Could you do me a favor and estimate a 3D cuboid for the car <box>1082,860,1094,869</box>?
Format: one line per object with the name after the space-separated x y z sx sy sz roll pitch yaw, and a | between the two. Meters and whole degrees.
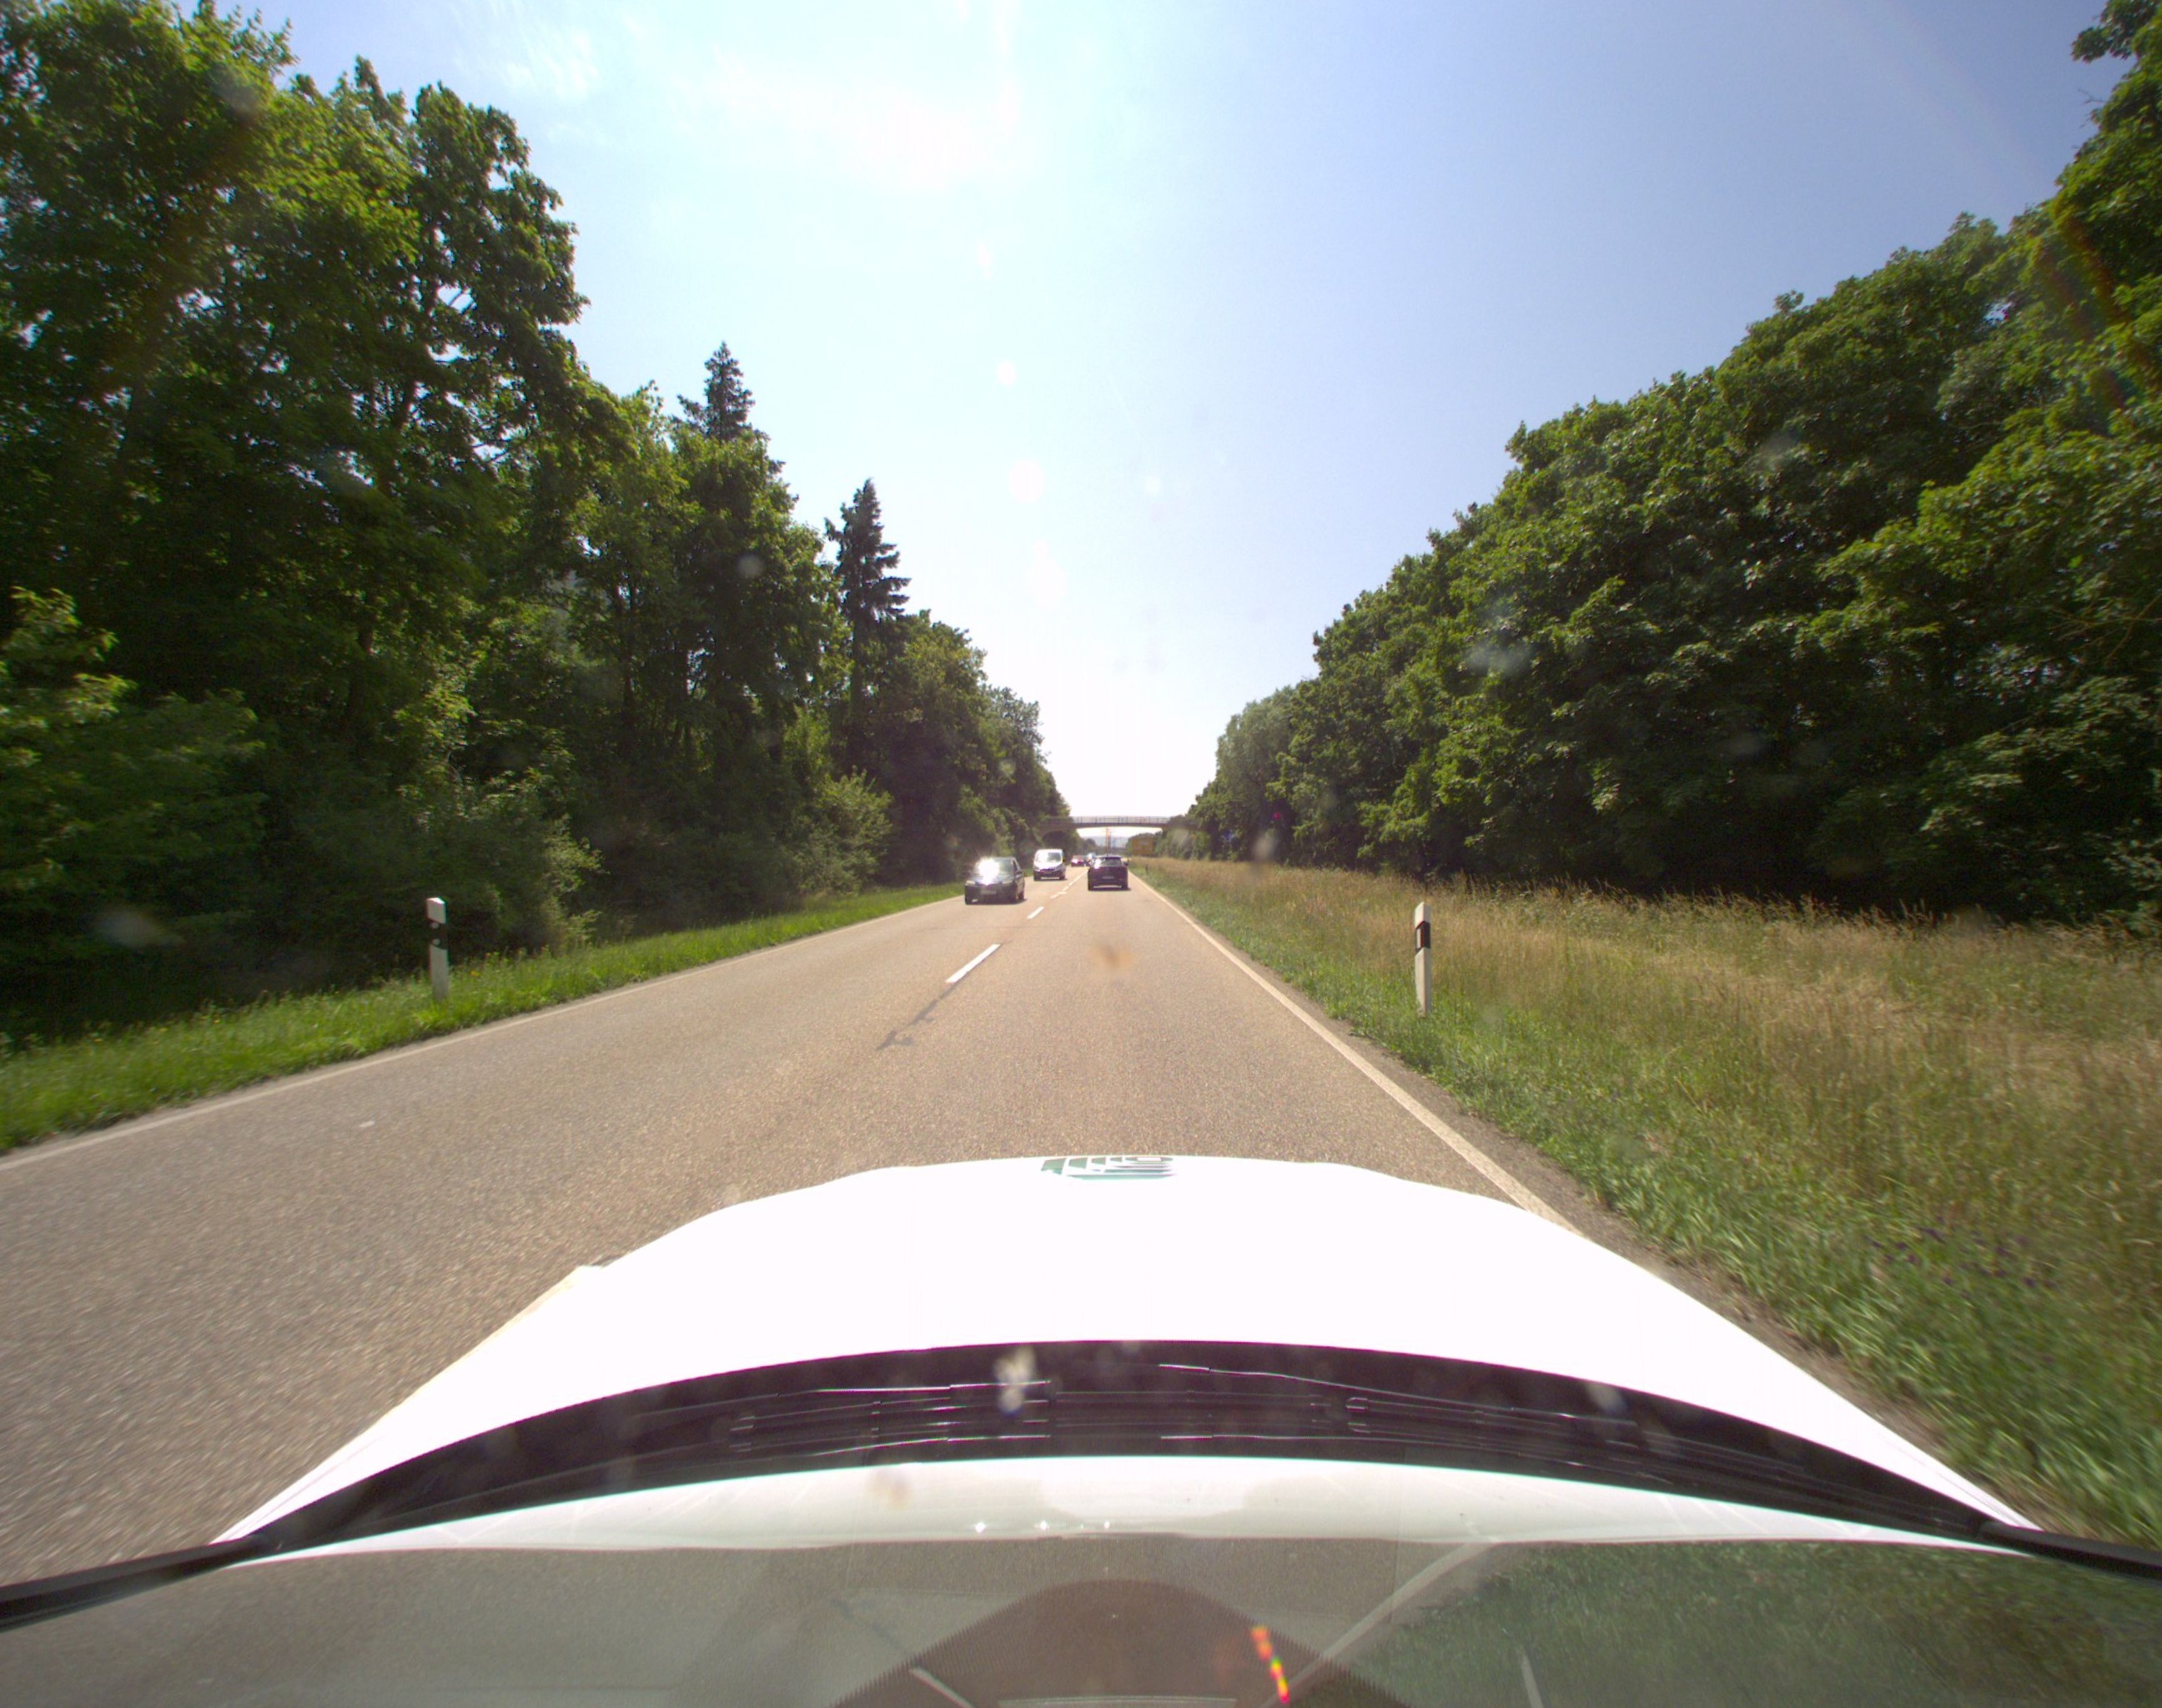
1.190 1.749 134.476 1.776 1.449 4.113 -1 0 3 | car

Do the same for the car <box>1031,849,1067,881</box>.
-1.976 0.661 51.586 1.868 1.929 4.989 -1 0 2 | car

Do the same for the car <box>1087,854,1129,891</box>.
1.175 0.791 36.692 1.749 1.556 3.999 0 -1 0 | car

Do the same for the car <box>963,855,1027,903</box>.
-2.840 0.809 27.629 1.666 1.518 4.001 0 -1 1 | car

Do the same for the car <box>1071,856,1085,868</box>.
-0.337 1.068 108.230 1.676 1.493 4.002 -1 0 2 | car
